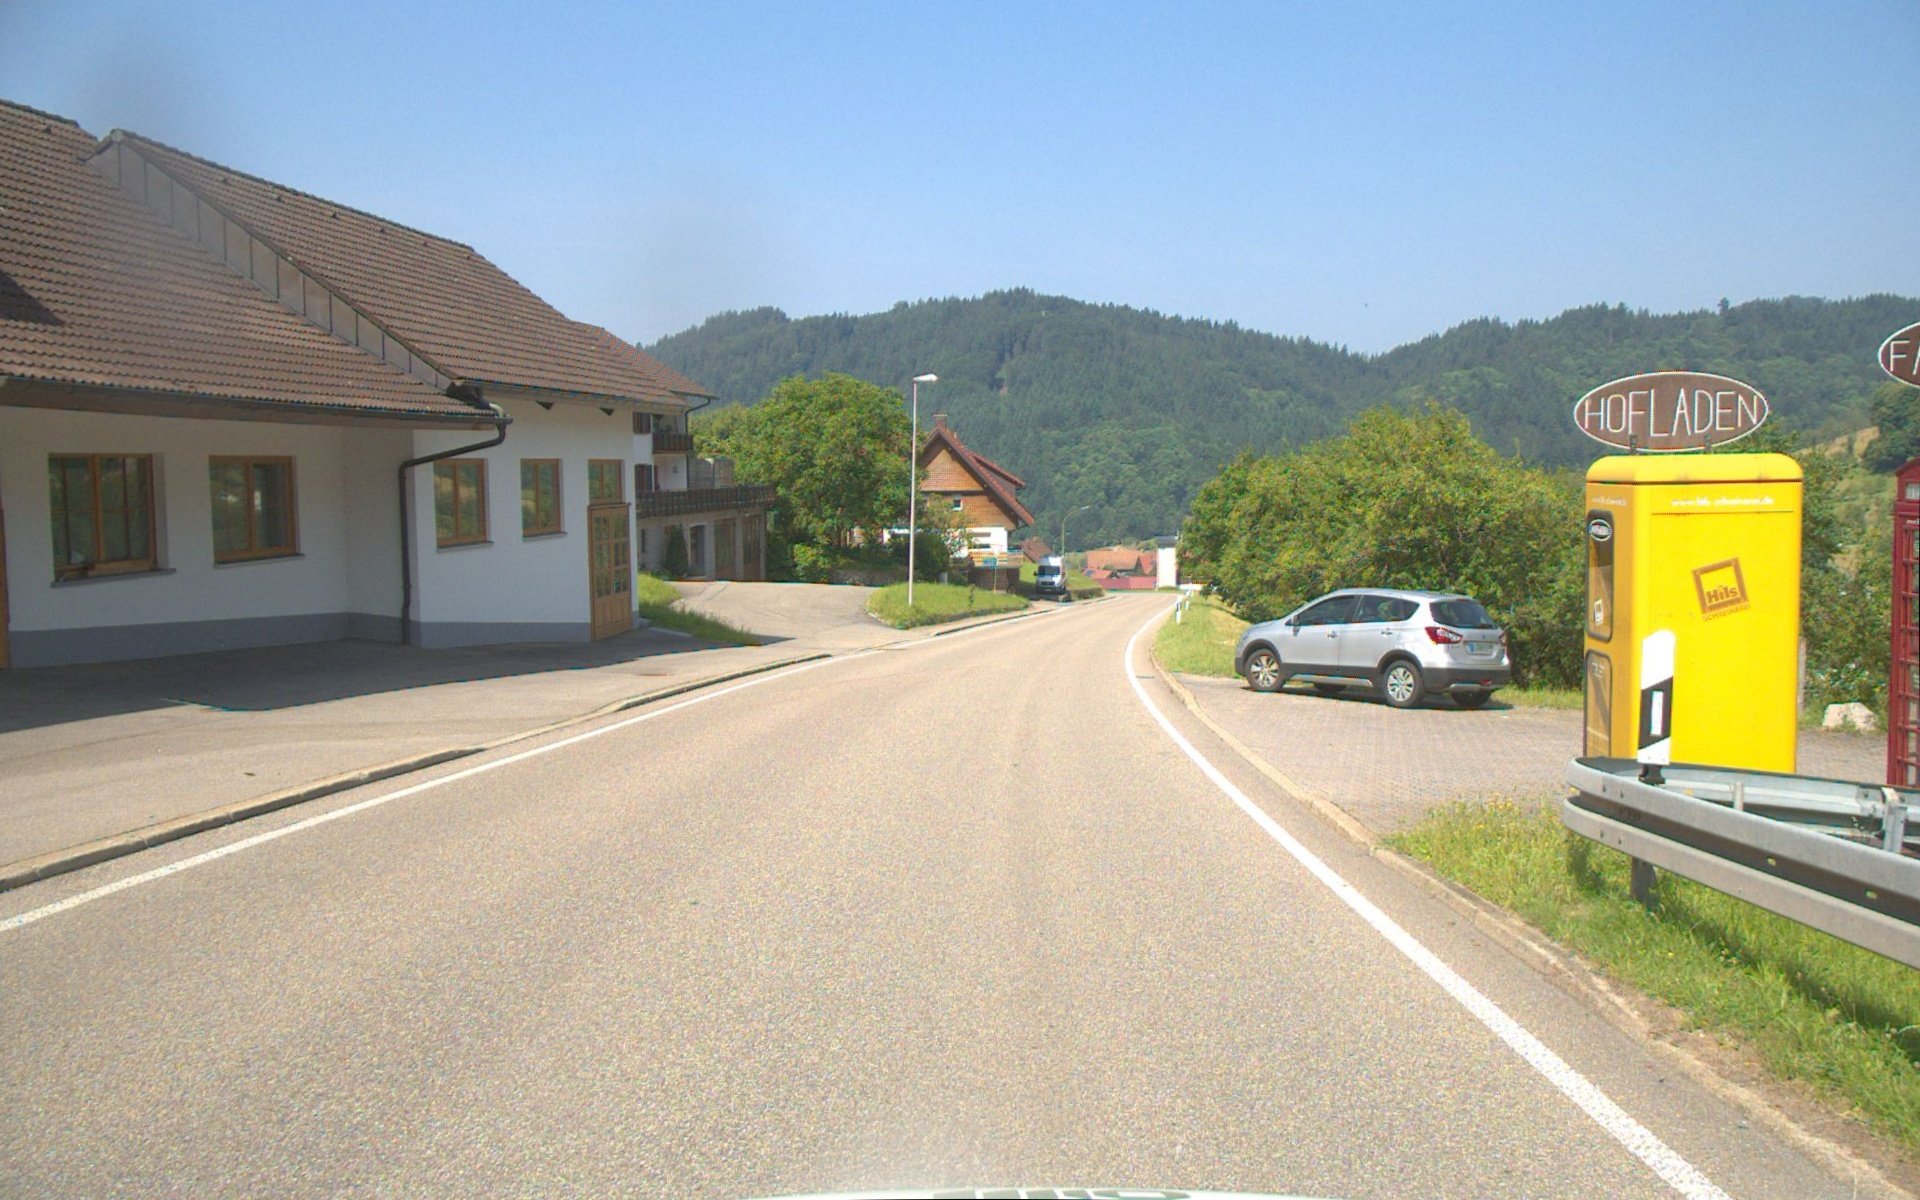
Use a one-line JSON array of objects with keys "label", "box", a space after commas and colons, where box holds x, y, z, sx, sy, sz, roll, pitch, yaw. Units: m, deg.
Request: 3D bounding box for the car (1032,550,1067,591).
[{"label": "car", "box": [6.830, -2.270, 125.659, 2.023, 2.734, 7.183, -1, 4, 8]}]

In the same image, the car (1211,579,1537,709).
[{"label": "car", "box": [5.892, 0.570, 24.038, 1.885, 1.598, 4.405, 1, 1, -36]}]
